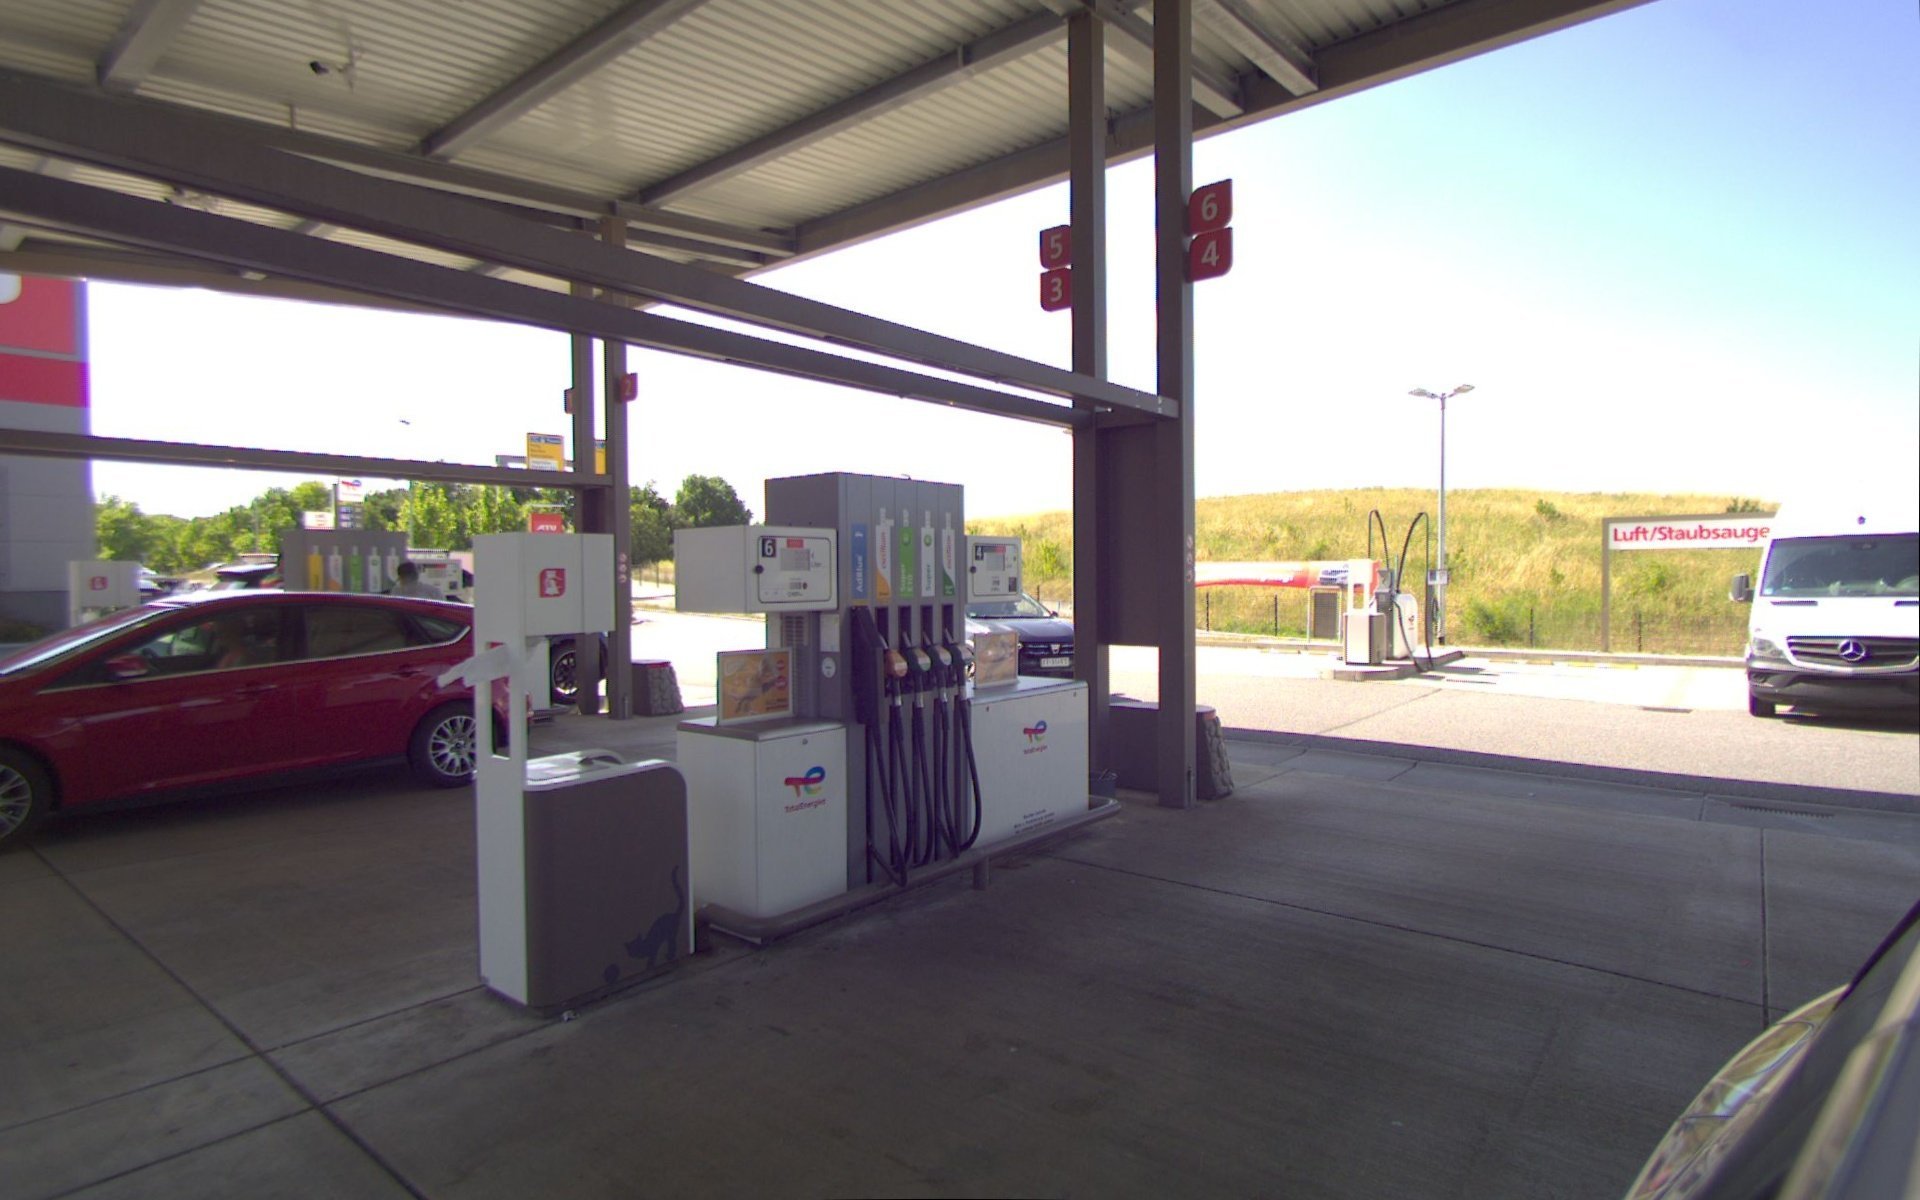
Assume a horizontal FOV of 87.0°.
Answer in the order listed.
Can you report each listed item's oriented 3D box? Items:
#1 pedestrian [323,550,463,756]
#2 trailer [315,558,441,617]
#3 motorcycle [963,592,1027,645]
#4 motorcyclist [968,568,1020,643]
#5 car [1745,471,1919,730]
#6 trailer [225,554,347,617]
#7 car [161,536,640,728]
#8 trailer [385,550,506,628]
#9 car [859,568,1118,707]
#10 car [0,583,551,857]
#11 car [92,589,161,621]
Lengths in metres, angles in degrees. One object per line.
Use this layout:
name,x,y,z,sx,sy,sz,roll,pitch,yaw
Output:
pedestrian,-5.071,0.434,9.071,0.700,1.724,0.915,0,1,40
trailer,-21.299,-0.468,37.242,1.776,2.039,3.983,0,1,14
motorcycle,0.863,0.402,23.900,1.030,1.119,2.406,0,2,14
motorcyclist,0.814,0.106,23.794,1.019,1.709,1.094,0,1,15
car,11.794,-0.179,12.870,6.919,2.602,1.995,-4,4,-45
trailer,-27.797,-0.621,41.897,1.969,2.457,3.987,0,1,12
car,-6.548,0.298,12.359,2.024,1.874,4.730,1,0,39
trailer,-17.074,-0.400,33.799,1.963,2.457,3.999,0,1,1
car,0.197,0.405,14.598,1.708,1.665,4.639,0,1,-27
car,-5.198,0.632,6.931,1.695,1.487,4.174,1,1,39
car,-37.967,0.204,46.075,3.815,1.334,1.659,1,1,38
